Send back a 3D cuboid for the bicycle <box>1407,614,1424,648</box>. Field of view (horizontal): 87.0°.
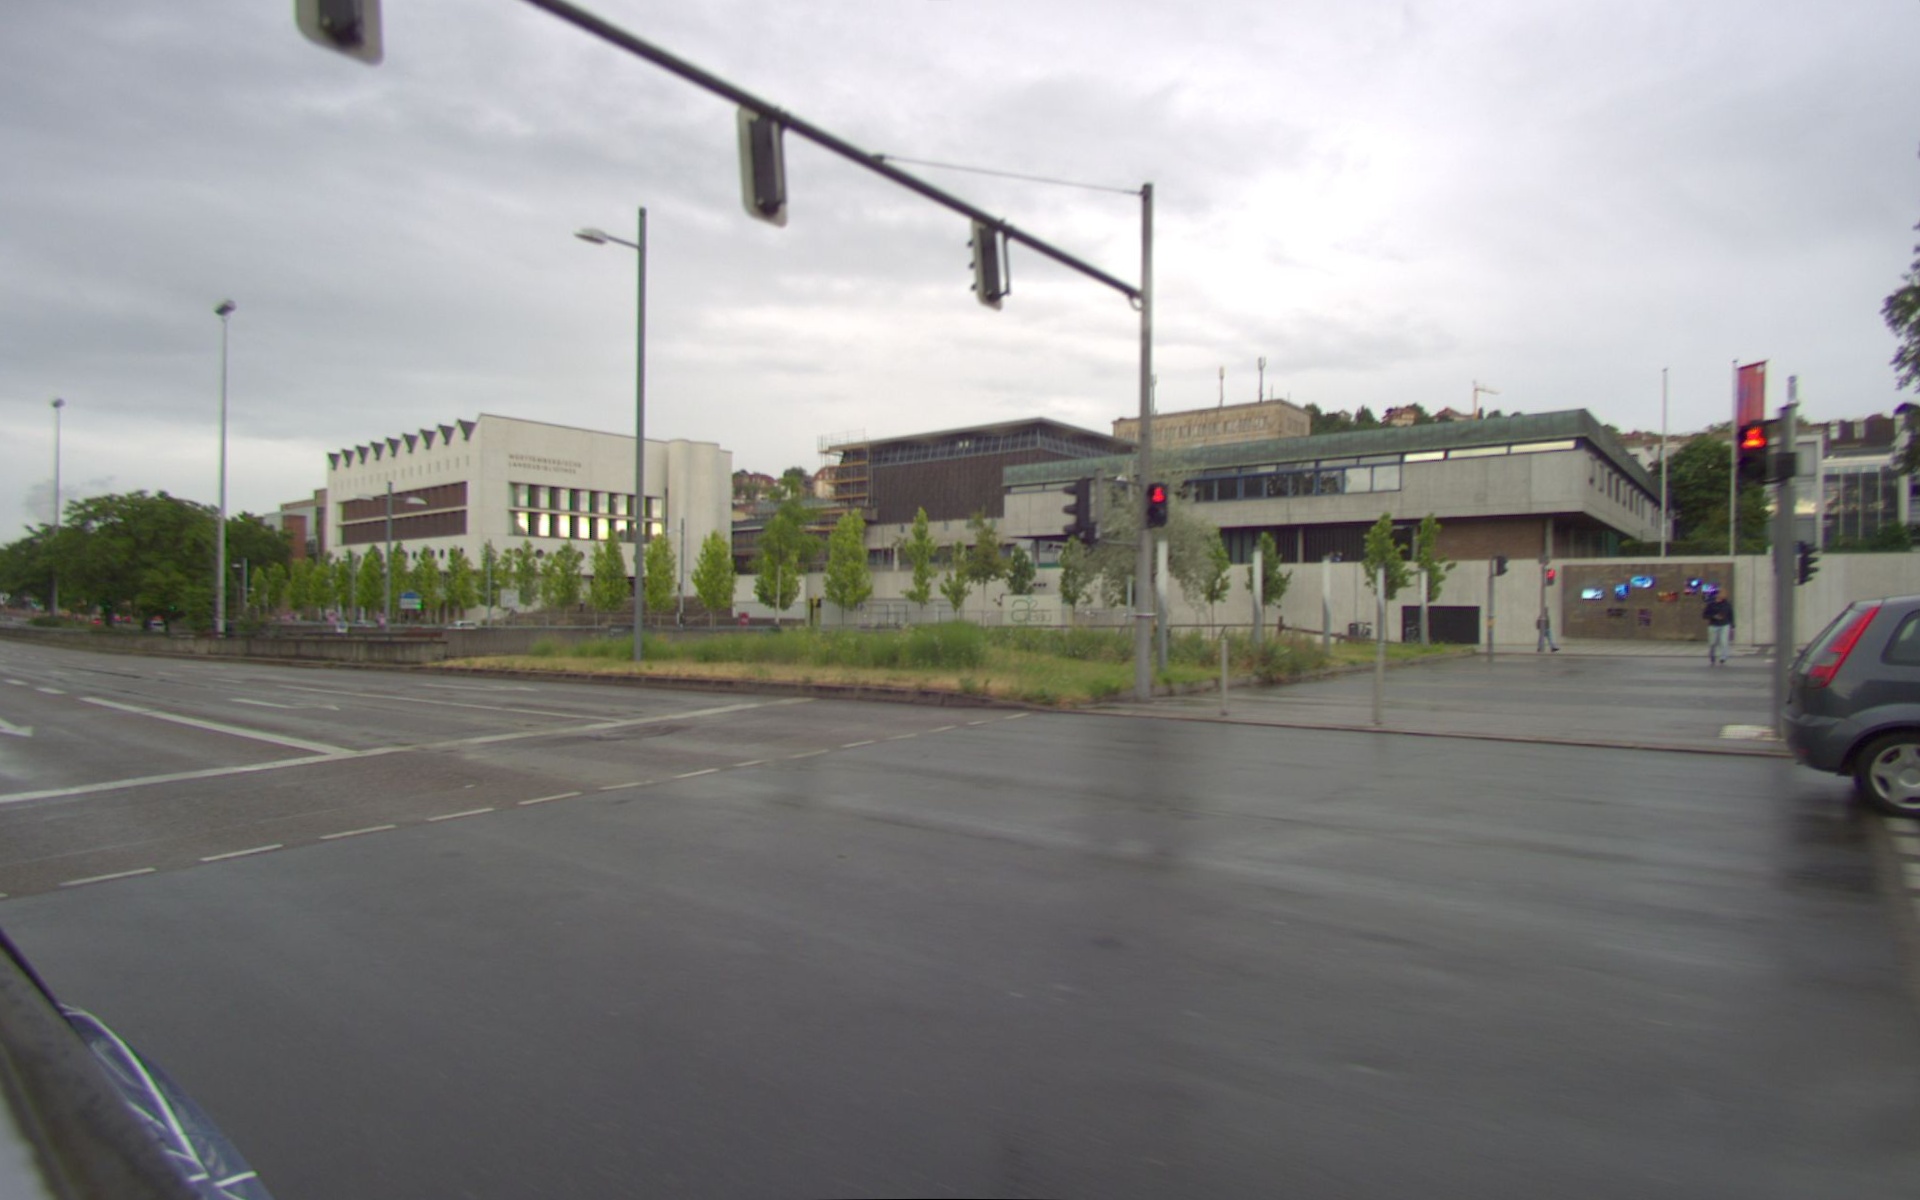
[{"bbox_3d":[18.544,1.259,41.181,0.555,1.317,1.468,1,1,26],"label":"bicycle"}]

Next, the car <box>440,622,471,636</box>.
[{"bbox_3d":[-44.845,2.584,89.939,3.019,1.122,1.425,1,1,41],"label":"car"}]

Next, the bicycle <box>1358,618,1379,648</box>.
[{"bbox_3d":[17.261,1.380,42.776,0.529,1.170,1.685,1,1,32],"label":"bicycle"}]

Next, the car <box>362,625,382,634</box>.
[{"bbox_3d":[-58.551,2.970,100.824,2.550,0.751,0.811,1,1,38],"label":"car"}]

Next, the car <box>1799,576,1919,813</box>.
[{"bbox_3d":[7.363,0.523,5.779,3.898,1.426,1.527,-2,-1,40],"label":"car"}]

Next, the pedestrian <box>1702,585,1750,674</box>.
[{"bbox_3d":[18.789,0.728,24.828,0.725,2.107,0.759,-7,-4,40],"label":"pedestrian"}]

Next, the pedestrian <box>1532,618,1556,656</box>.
[{"bbox_3d":[21.950,1.379,38.038,0.460,1.393,0.579,0,1,-18],"label":"pedestrian"}]
